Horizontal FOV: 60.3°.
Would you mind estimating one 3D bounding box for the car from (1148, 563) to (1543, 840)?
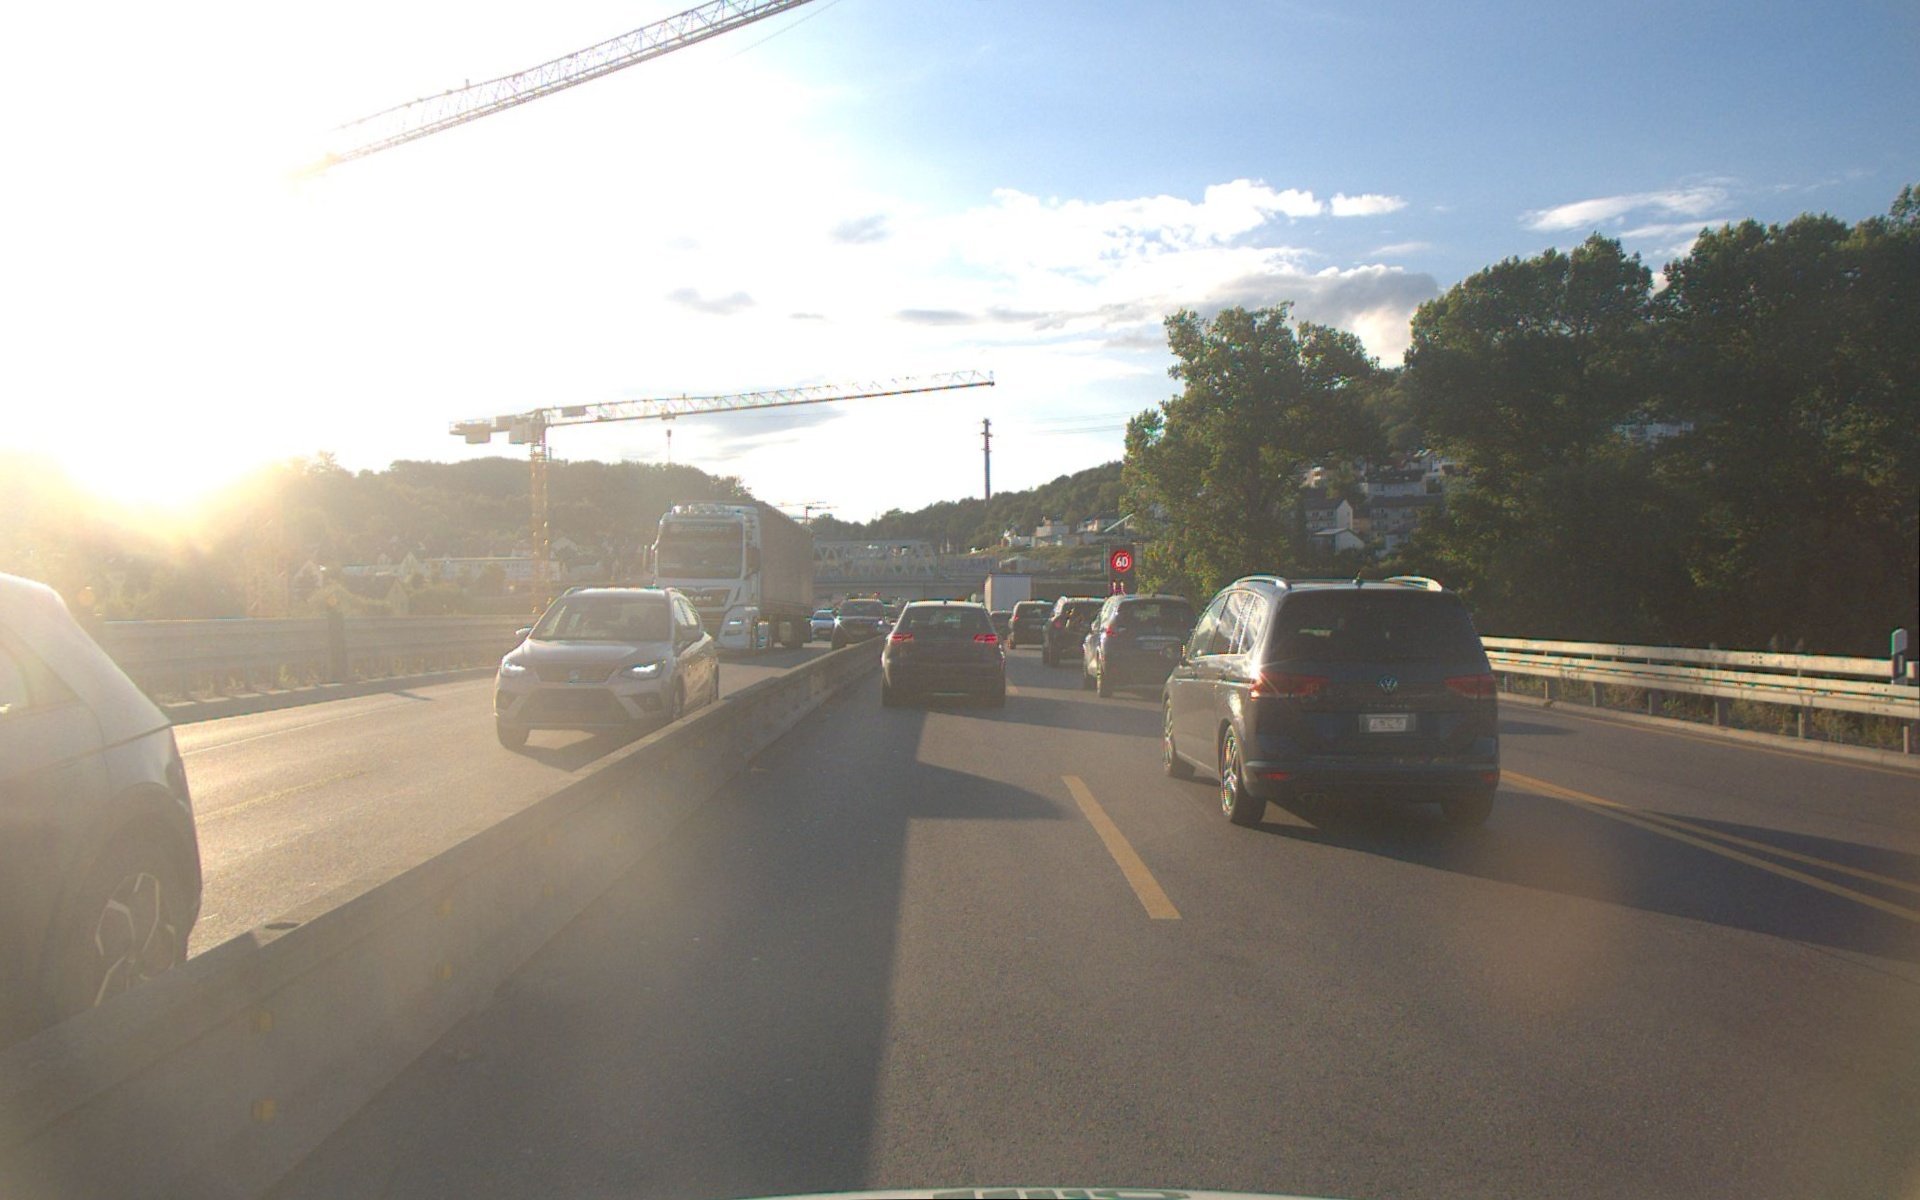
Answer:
[{"bbox_3d":[2.633,0.655,12.424,1.776,1.643,4.524,2,-1,-1],"label":"car"}]

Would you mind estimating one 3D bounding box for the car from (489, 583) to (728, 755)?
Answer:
[{"bbox_3d":[-3.485,0.657,17.098,1.731,1.562,3.998,0,-1,-2],"label":"car"}]

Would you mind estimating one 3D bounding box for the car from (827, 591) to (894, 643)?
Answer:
[{"bbox_3d":[-3.280,0.560,55.306,1.953,1.647,4.605,-1,0,0],"label":"car"}]

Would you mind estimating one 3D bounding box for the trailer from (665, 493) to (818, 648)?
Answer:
[{"bbox_3d":[-6.430,-0.750,51.109,2.756,4.121,14.020,0,0,0],"label":"trailer"}]

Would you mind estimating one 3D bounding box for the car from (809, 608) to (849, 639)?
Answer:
[{"bbox_3d":[-6.350,1.130,80.401,1.666,1.471,3.999,-1,0,-1],"label":"car"}]

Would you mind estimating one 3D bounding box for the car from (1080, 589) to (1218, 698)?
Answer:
[{"bbox_3d":[2.962,0.660,26.693,1.738,1.614,4.134,0,0,0],"label":"car"}]

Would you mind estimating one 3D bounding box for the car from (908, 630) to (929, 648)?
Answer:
[{"bbox_3d":[-3.678,3.438,146.453,1.768,1.538,3.999,0,-1,-1],"label":"car"}]

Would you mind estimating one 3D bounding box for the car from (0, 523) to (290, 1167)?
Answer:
[{"bbox_3d":[-3.250,0.614,3.621,1.707,1.611,4.705,0,0,-1],"label":"car"}]

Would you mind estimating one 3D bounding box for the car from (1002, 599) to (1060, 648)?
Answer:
[{"bbox_3d":[2.472,0.834,58.433,1.777,1.661,4.410,0,-1,-1],"label":"car"}]

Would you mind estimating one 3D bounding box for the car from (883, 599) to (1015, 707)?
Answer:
[{"bbox_3d":[-0.211,0.723,23.798,1.734,1.414,3.998,1,-1,-2],"label":"car"}]

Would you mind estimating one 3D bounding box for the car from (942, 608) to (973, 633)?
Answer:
[{"bbox_3d":[-0.176,1.219,100.483,1.825,1.445,3.999,1,-1,-1],"label":"car"}]

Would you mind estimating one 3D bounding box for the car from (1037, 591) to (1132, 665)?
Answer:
[{"bbox_3d":[2.867,0.669,38.965,1.837,1.627,4.965,0,-1,0],"label":"car"}]

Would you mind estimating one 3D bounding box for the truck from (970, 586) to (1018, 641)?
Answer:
[{"bbox_3d":[2.913,1.140,147.577,3.811,4.577,15.264,1,0,-1],"label":"truck"}]

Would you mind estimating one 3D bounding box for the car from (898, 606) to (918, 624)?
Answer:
[{"bbox_3d":[-5.284,1.524,167.399,1.953,1.789,4.659,0,-1,-1],"label":"car"}]

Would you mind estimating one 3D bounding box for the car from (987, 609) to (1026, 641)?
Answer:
[{"bbox_3d":[2.359,1.259,84.430,1.734,1.580,3.998,1,-1,-2],"label":"car"}]

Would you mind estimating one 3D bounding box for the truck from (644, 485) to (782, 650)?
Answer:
[{"bbox_3d":[-6.487,-0.799,44.281,2.756,4.119,5.672,-1,0,1],"label":"truck"}]

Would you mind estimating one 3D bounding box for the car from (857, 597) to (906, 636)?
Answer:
[{"bbox_3d":[-3.475,0.735,74.059,1.953,1.673,4.511,1,0,0],"label":"car"}]

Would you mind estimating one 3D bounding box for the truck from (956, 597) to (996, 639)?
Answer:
[{"bbox_3d":[1.760,1.939,189.659,3.813,4.577,13.840,1,0,-3],"label":"truck"}]

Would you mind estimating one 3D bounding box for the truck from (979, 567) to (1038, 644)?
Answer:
[{"bbox_3d":[3.019,0.194,107.012,3.316,4.576,15.267,1,1,0],"label":"truck"}]
